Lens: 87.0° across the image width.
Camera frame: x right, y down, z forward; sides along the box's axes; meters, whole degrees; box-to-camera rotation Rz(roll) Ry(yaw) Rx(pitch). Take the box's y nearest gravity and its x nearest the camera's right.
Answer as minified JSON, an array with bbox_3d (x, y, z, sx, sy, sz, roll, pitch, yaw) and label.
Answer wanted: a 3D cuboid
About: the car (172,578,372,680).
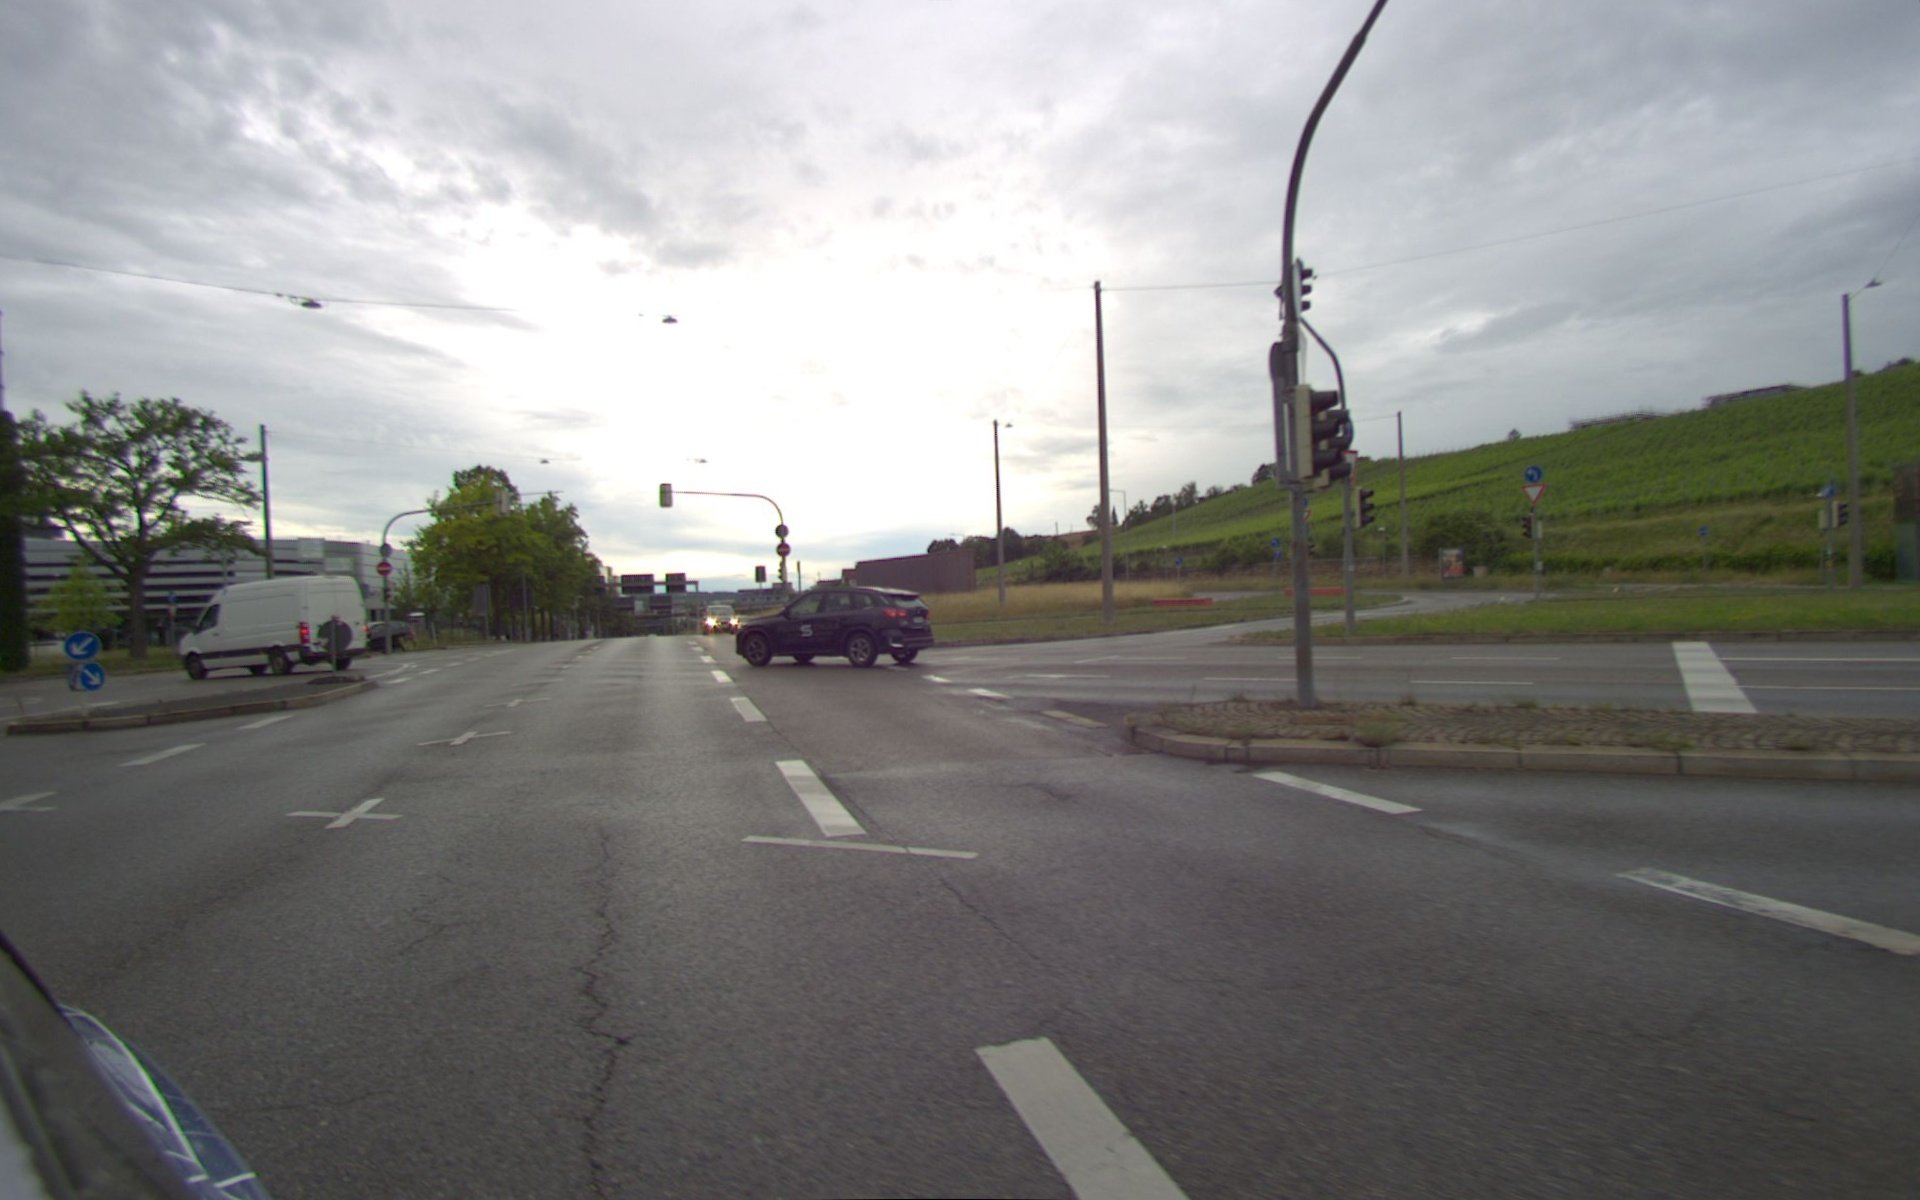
[{"bbox_3d":[-19.620,0.835,28.841,5.422,2.604,1.918,-3,1,22],"label":"car"}]

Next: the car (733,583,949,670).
[{"bbox_3d":[-2.537,0.580,21.249,4.325,1.608,1.721,-3,1,31],"label":"car"}]

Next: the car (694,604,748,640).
[{"bbox_3d":[-11.855,1.066,50.460,1.772,1.600,3.906,-2,0,-1],"label":"car"}]
